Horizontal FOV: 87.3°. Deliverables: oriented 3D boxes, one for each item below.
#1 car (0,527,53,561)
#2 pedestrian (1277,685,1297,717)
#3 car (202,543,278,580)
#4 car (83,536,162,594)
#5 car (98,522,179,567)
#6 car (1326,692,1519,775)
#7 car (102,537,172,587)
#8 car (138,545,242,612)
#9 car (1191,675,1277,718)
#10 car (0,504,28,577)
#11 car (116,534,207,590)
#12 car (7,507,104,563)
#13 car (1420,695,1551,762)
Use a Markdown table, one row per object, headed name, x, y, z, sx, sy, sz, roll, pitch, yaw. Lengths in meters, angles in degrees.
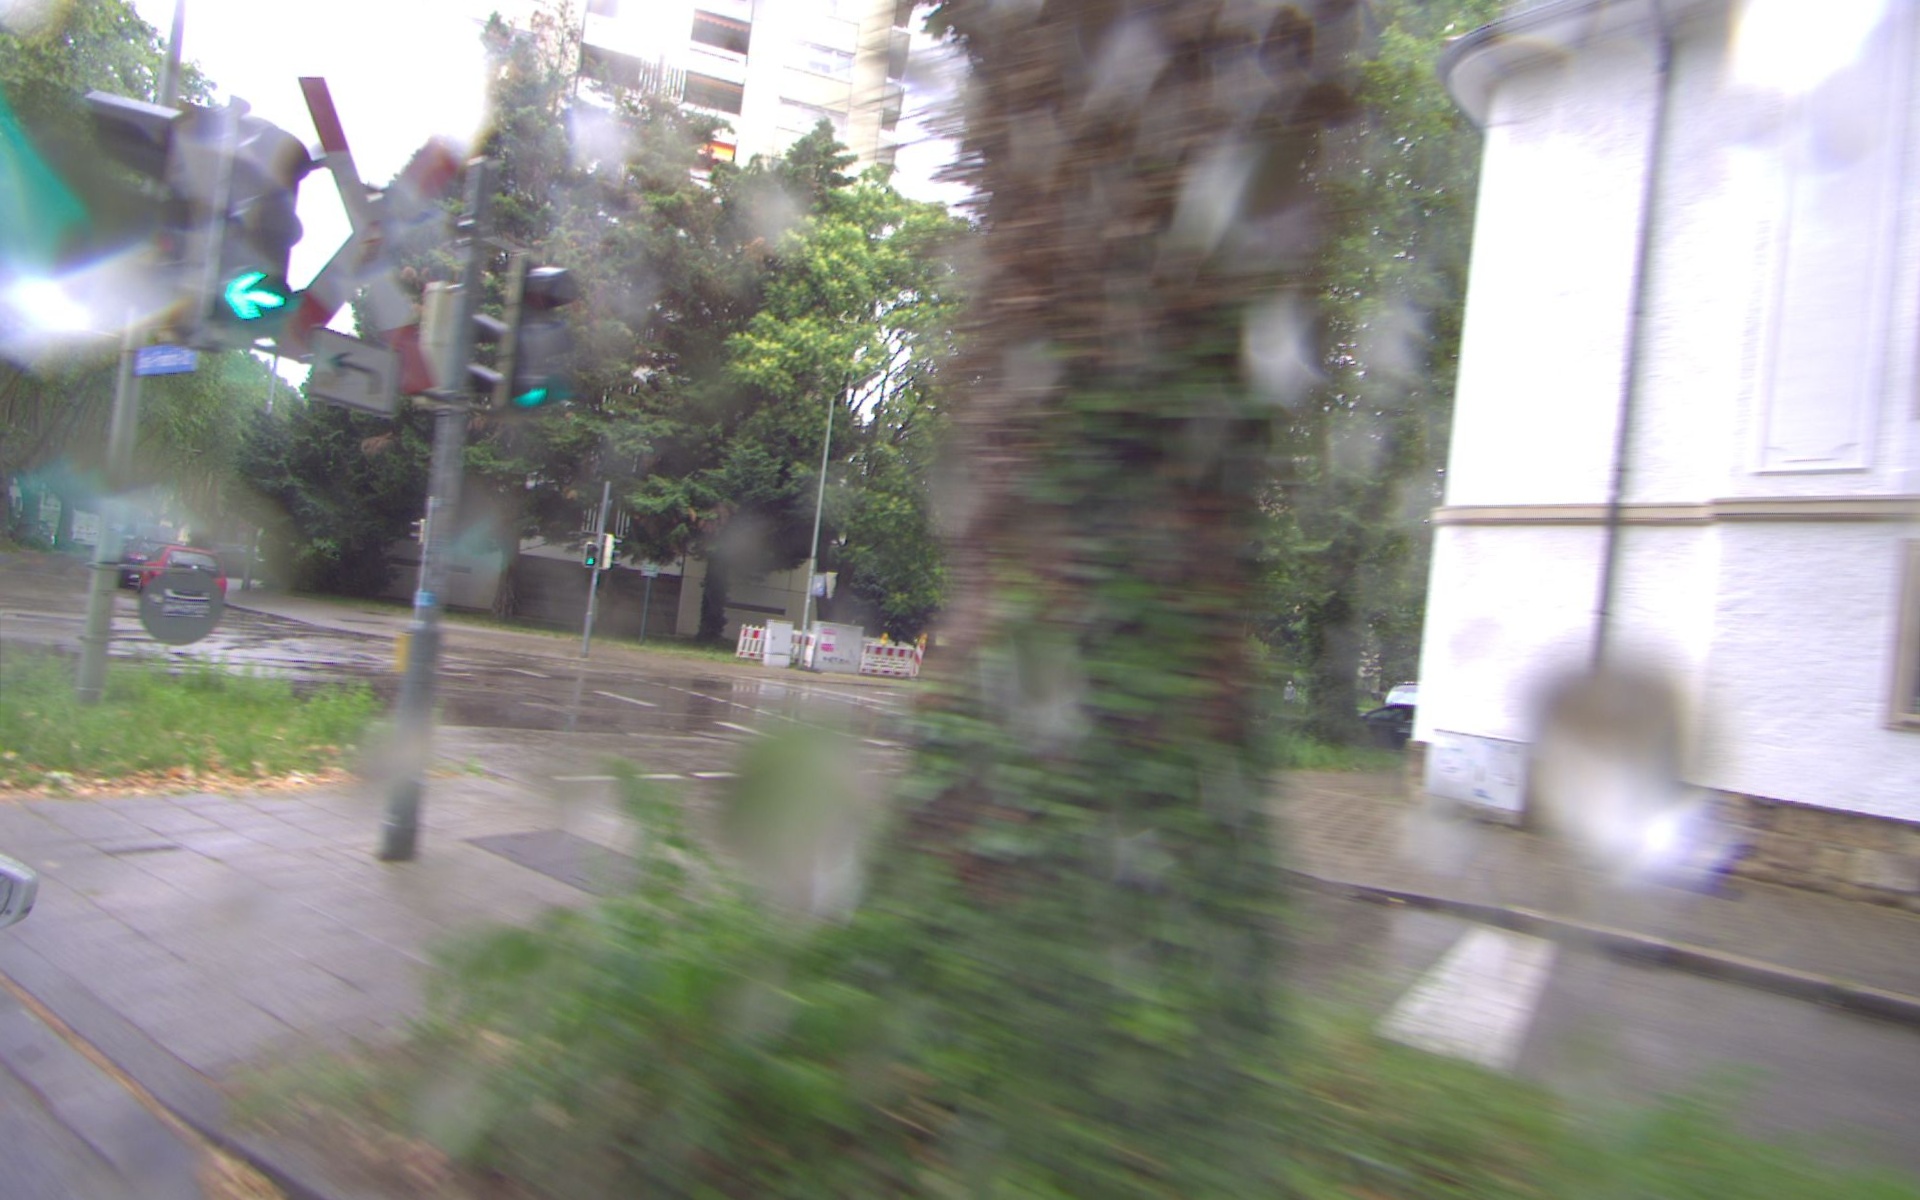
| name | x | y | z | sx | sy | sz | roll | pitch | yaw |
| --- | --- | --- | --- | --- | --- | --- | --- | --- | --- |
| car | -53.769 | -3.279 | 56.486 | 1.974 | 1.565 | 3.980 | 5 | -3 | 44 |
| pedestrian | 16.585 | 5.126 | 51.042 | 0.563 | 1.556 | 0.640 | 7 | -1 | -40 |
| car | -50.740 | -2.712 | 70.975 | 1.843 | 1.983 | 3.861 | 5 | -2 | 36 |
| car | -30.386 | -1.302 | 36.465 | 1.779 | 1.747 | 3.951 | 8 | -3 | -44 |
| car | -67.406 | -4.536 | 82.583 | 4.683 | 2.982 | 2.001 | 7 | -1 | 0 |
| car | 11.082 | 3.181 | 24.237 | 1.741 | 1.399 | 3.771 | 8 | -3 | -44 |
| car | -36.185 | -1.692 | 44.201 | 1.918 | 1.827 | 3.951 | 8 | -3 | -44 |
| car | -22.175 | -0.647 | 28.907 | 1.788 | 1.515 | 3.950 | 9 | -3 | -44 |
| car | 12.028 | 4.252 | 44.091 | 1.829 | 1.473 | 3.979 | 5 | -3 | 45 |
| car | -22.370 | -1.530 | 21.081 | 1.974 | 1.503 | 3.980 | 5 | -3 | 44 |
| car | -25.469 | -1.230 | 32.043 | 1.780 | 1.363 | 3.879 | 9 | -2 | -44 |
| car | -58.747 | -4.218 | 65.358 | 4.680 | 2.982 | 2.043 | 6 | -1 | 11 |
| car | 16.530 | 4.034 | 31.719 | 3.221 | 1.627 | 1.626 | 5 | -2 | 45 |
